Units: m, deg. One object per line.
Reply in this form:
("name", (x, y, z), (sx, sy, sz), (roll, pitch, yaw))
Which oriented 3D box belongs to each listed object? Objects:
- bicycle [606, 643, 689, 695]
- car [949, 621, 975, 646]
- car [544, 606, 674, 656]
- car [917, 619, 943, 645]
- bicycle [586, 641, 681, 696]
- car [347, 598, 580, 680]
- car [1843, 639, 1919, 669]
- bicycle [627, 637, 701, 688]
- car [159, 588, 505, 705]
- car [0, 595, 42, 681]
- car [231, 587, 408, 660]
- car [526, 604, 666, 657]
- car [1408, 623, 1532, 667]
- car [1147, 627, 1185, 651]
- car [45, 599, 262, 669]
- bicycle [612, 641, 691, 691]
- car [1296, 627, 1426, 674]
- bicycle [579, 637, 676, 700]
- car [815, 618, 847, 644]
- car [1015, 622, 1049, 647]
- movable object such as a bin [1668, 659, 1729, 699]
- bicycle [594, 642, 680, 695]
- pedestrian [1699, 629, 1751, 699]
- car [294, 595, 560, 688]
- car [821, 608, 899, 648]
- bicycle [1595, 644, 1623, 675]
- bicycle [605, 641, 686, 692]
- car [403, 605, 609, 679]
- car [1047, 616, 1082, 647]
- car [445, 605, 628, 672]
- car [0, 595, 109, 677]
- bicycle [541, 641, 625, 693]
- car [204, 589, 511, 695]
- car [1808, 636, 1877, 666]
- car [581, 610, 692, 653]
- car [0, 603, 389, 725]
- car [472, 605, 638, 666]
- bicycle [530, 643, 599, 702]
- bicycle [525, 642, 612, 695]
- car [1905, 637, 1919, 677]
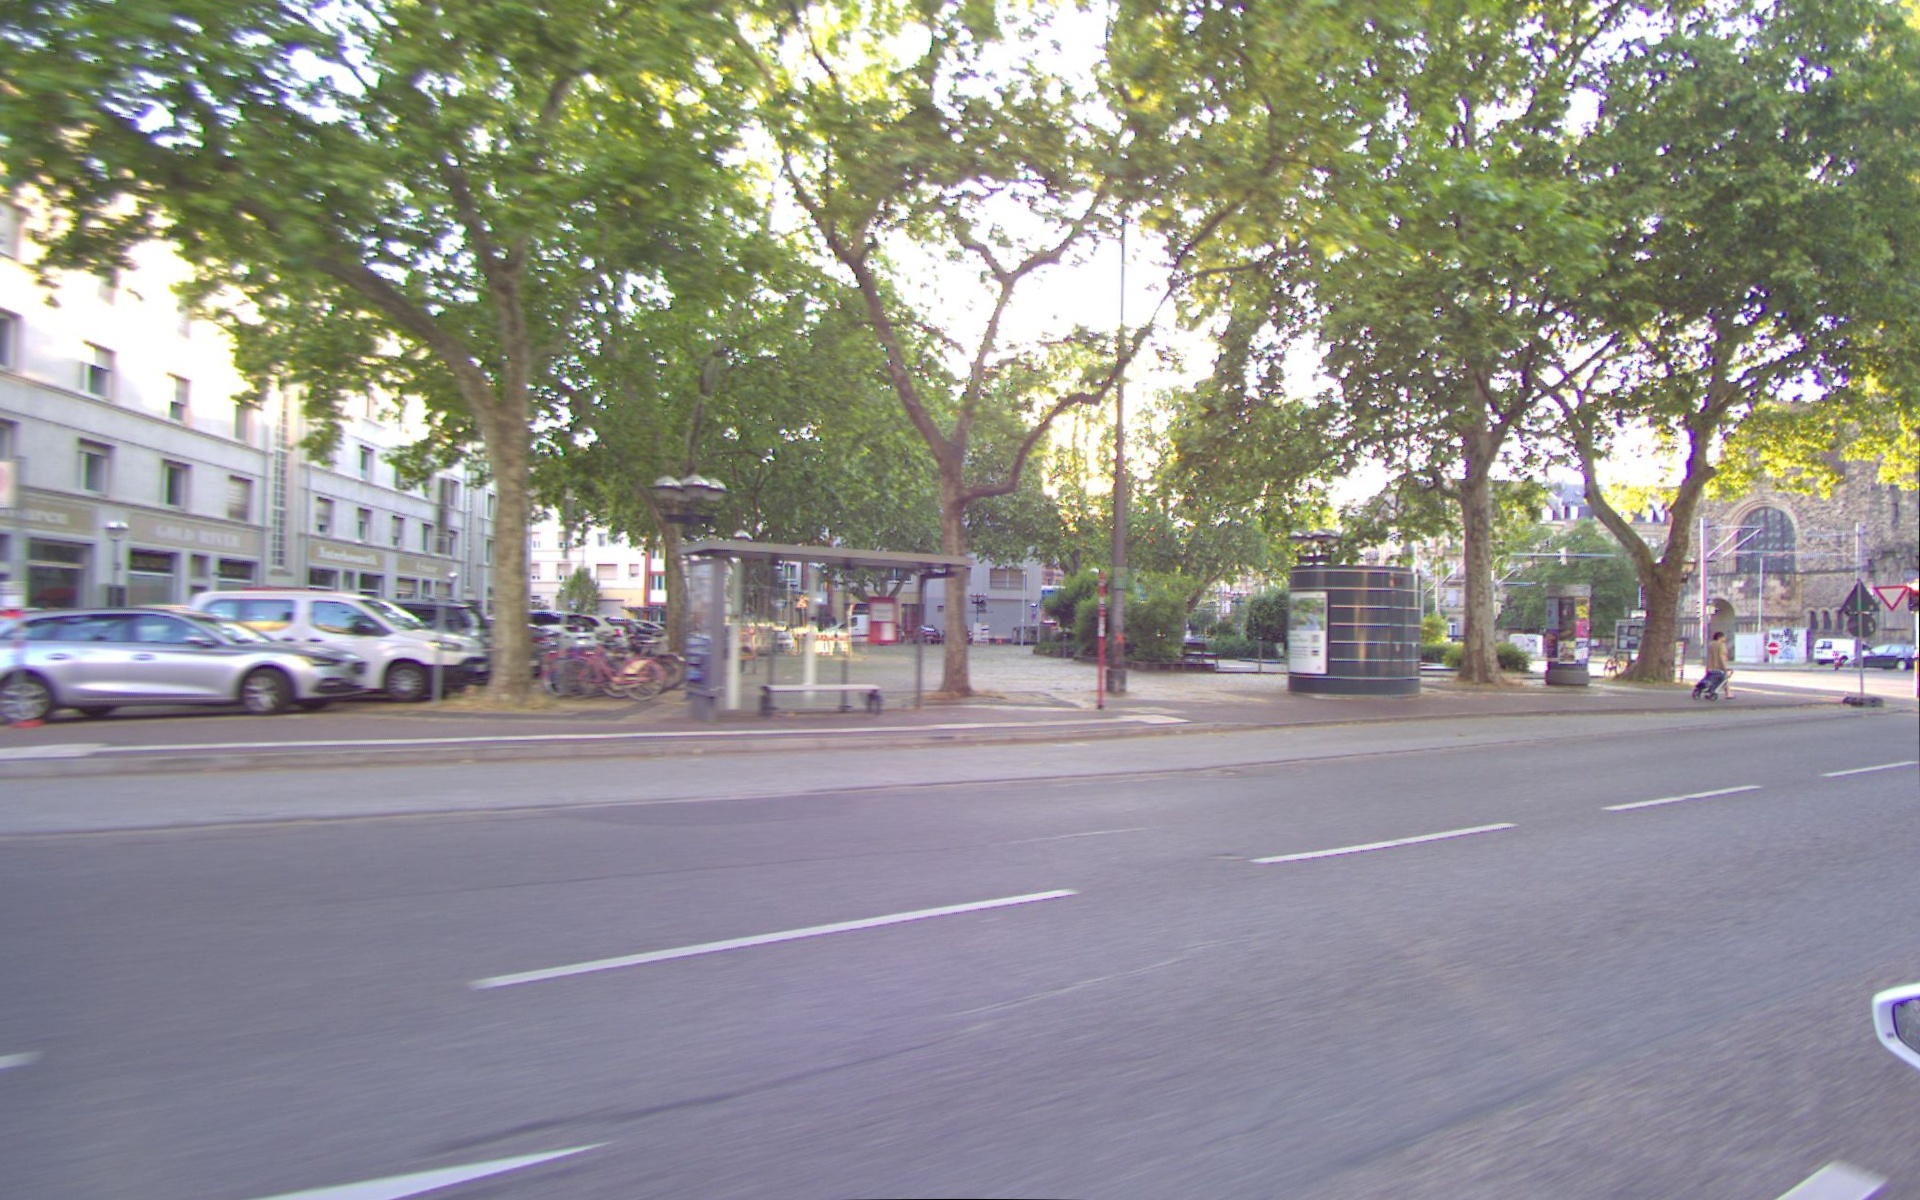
("bicycle", (-6.079, 1.329, 19.559), (1.488, 0.981, 0.391), (2, -1, -34))
("car", (0.155, 2.605, 78.895), (1.893, 1.866, 4.339), (2, -1, -1))
("car", (-13.714, 1.213, 39.525), (4.550, 1.866, 2.080), (0, -1, -12))
("car", (-2.313, 2.482, 78.282), (1.893, 1.866, 4.339), (2, -1, -1))
("bicycle", (-6.072, 1.275, 18.716), (1.611, 0.981, 0.408), (1, -1, -3))
("car", (-11.737, 0.914, 24.050), (4.546, 1.866, 2.082), (0, -1, -8))
("car", (60.243, 3.502, 65.537), (1.681, 1.829, 3.801), (1, -1, -9))
("bicycle", (-6.284, 1.333, 21.375), (1.480, 1.063, 0.393), (1, -1, -18))
("car", (-10.338, 0.760, 16.886), (4.546, 1.824, 1.822), (0, -1, -8))
("car", (-21.875, 0.708, 20.450), (4.259, 1.773, 1.928), (2, -1, -8))
("car", (-24.152, 0.890, 38.050), (5.188, 2.536, 1.998), (2, -1, -7))
("car", (-13.260, 1.109, 36.889), (4.550, 1.866, 2.080), (0, -1, -12))
("car", (22.715, 1.987, 44.808), (4.544, 1.866, 2.083), (0, -1, -6))
("car", (16.989, 3.171, 83.034), (1.895, 1.866, 4.336), (2, -1, -5))
("car", (-22.452, 0.940, 28.132), (4.259, 1.773, 1.928), (2, -1, -8))
("bicycle", (-6.339, 1.350, 20.654), (1.475, 0.981, 0.395), (1, -1, -3))
("car", (16.402, 2.048, 41.211), (4.544, 1.866, 2.083), (0, -1, -6))
("bicycle", (-5.959, 1.227, 18.035), (1.563, 1.088, 0.402), (1, -1, -3))
("car", (-9.900, 2.359, 77.225), (1.893, 1.866, 4.339), (2, -1, -1))
("car", (5.677, 2.716, 79.667), (1.895, 1.866, 4.336), (2, -1, -5))
("movable object such as a bin", (17.589, 1.882, 23.933), (0.966, 0.902, 0.738), (1, -1, -16))
("bicycle", (-6.134, 1.298, 19.112), (1.475, 0.981, 0.395), (1, -1, -3))
("pedestrian", (18.374, 1.527, 24.131), (0.674, 1.650, 0.738), (1, -1, -15))
("car", (-11.236, 0.872, 21.510), (4.546, 1.866, 2.082), (0, -1, -8))
("car", (-6.304, 1.774, 62.969), (4.758, 2.322, 1.997), (2, -1, -9))
("bicycle", (22.866, 2.081, 35.405), (0.535, 1.057, 1.920), (0, -1, 25))
("bicycle", (-6.297, 1.331, 20.159), (1.475, 0.981, 0.395), (1, -1, -3))
("car", (-11.901, 1.095, 26.628), (4.545, 1.866, 2.082), (0, -1, -8))
("car", (8.247, 2.478, 79.385), (1.895, 2.289, 4.336), (2, -1, -5))
("car", (-12.209, 1.103, 29.293), (4.548, 1.866, 2.081), (0, -1, -11))
("car", (-22.570, 0.763, 22.986), (4.259, 1.773, 1.928), (2, -1, -8))
("bicycle", (-7.406, 1.313, 19.763), (1.475, 0.981, 0.395), (1, -1, -3))
("car", (-11.300, 0.781, 19.202), (4.546, 1.866, 2.082), (0, -1, -8))
("car", (61.191, 3.521, 69.677), (3.428, 1.935, 1.712), (1, -1, -4))
("car", (-14.533, 1.399, 45.328), (4.550, 1.866, 2.080), (0, -1, -12))
("car", (-10.598, 0.820, 13.668), (4.553, 1.501, 1.820), (0, -1, -14))
("car", (-12.770, 1.116, 31.992), (4.549, 1.866, 2.081), (0, -1, -12))
("bicycle", (-7.033, 1.265, 17.933), (0.387, 0.981, 1.505), (1, -1, 11))
("bicycle", (-7.444, 1.303, 19.139), (1.475, 0.981, 0.395), (1, -1, -3))
("car", (42.230, 2.404, 41.624), (4.179, 1.673, 2.001), (1, -1, 4))
